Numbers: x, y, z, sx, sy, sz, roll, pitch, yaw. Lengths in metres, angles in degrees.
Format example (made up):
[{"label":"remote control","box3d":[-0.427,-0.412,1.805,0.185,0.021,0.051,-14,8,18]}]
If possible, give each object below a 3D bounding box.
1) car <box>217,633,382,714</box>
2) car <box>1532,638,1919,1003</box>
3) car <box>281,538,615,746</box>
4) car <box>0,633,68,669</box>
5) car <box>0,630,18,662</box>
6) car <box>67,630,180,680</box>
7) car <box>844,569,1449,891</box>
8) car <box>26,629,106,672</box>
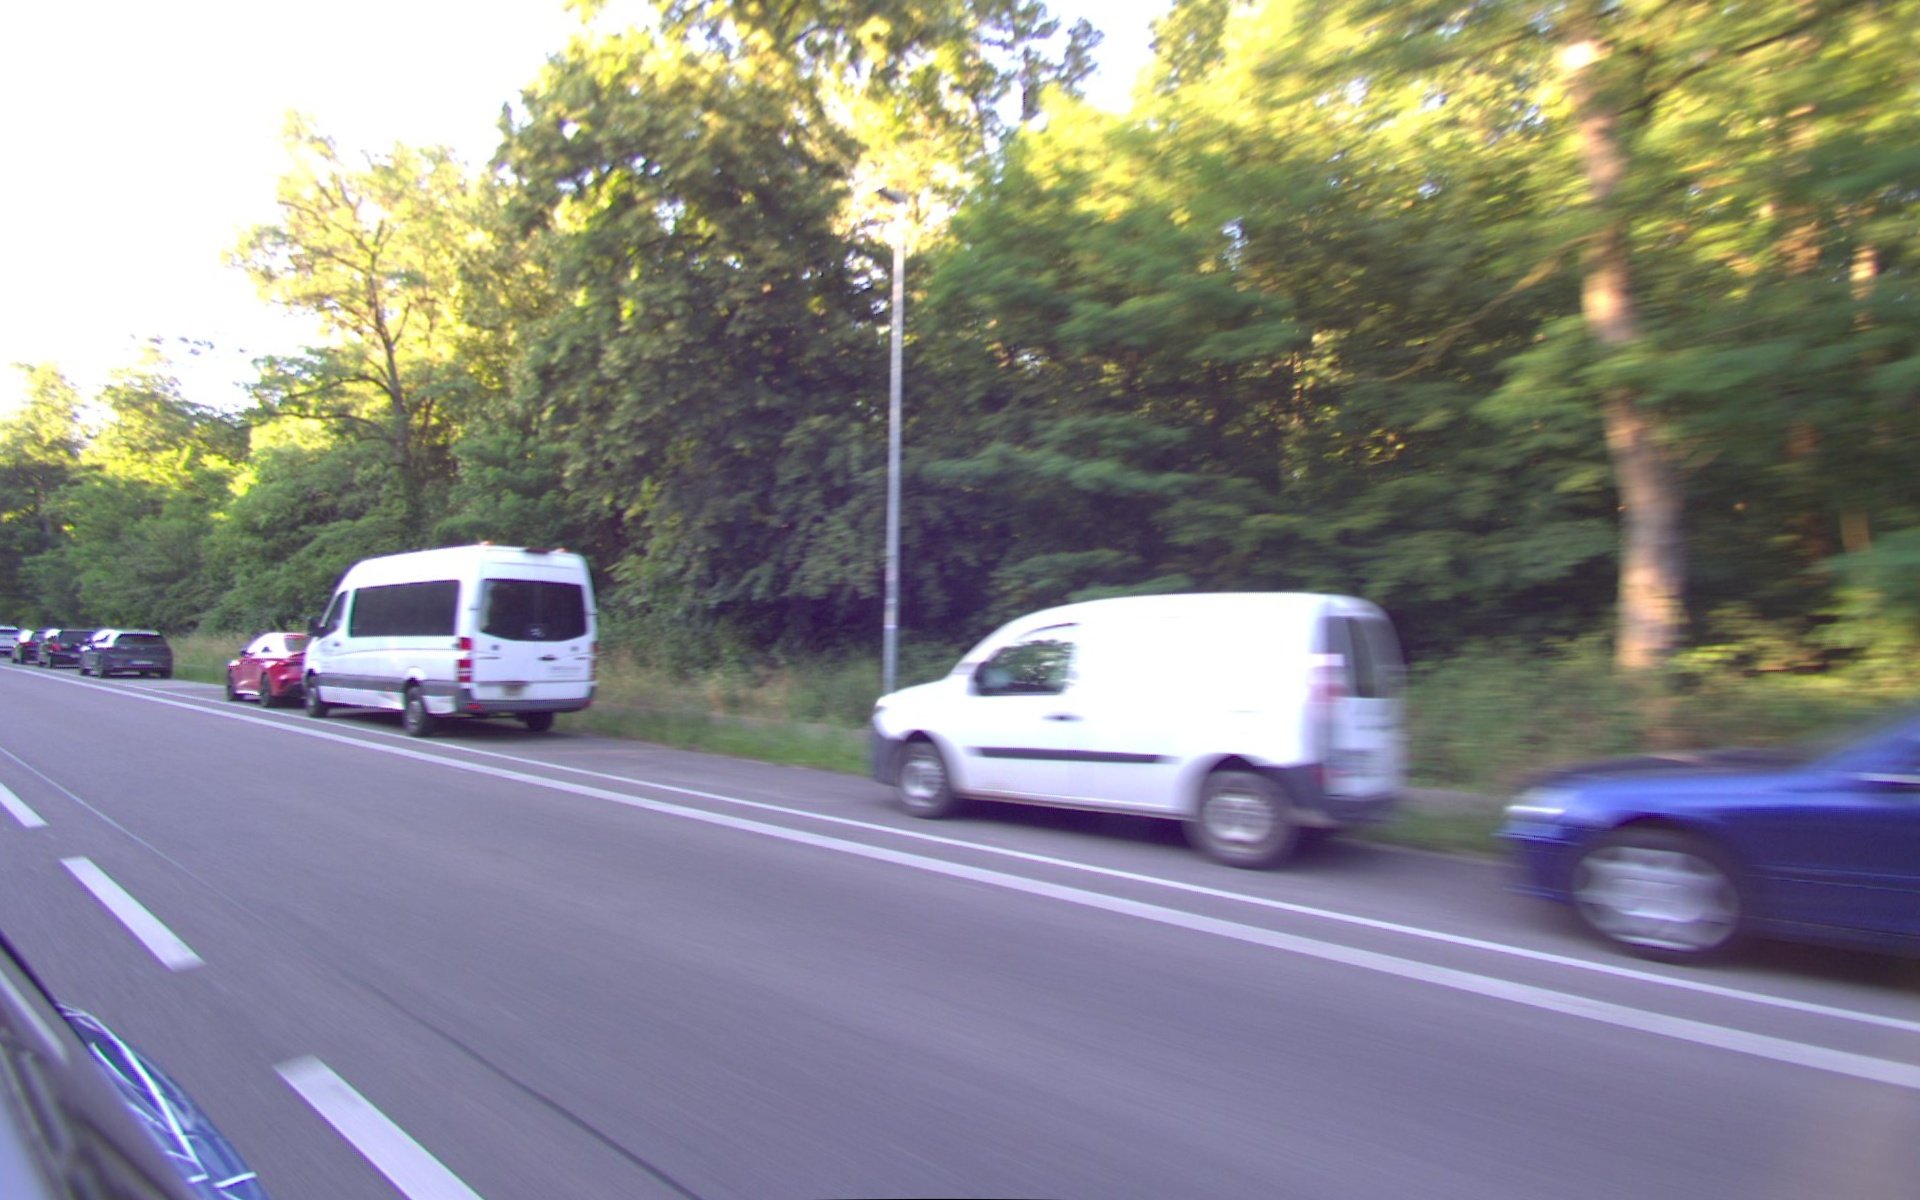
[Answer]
[{"label":"car","box3d":[-13.249,1.389,20.200,4.387,1.441,1.697,-2,-3,42]},{"label":"car","box3d":[5.006,0.897,4.100,4.445,1.444,1.652,-2,-4,41]},{"label":"car","box3d":[-8.281,0.659,15.885,7.085,2.626,2.057,-1,-5,41]},{"label":"car","box3d":[-38.219,2.088,41.728,4.049,1.405,1.581,-2,-3,41]},{"label":"car","box3d":[-51.223,2.414,53.345,4.568,1.659,1.678,-2,-4,39]},{"label":"car","box3d":[-25.981,1.696,31.394,4.224,1.474,1.827,-2,-4,39]},{"label":"car","box3d":[1.263,0.838,7.930,4.381,1.872,1.671,-1,-4,38]},{"label":"car","box3d":[-33.510,1.891,37.913,3.654,1.520,1.694,-2,-4,41]}]
